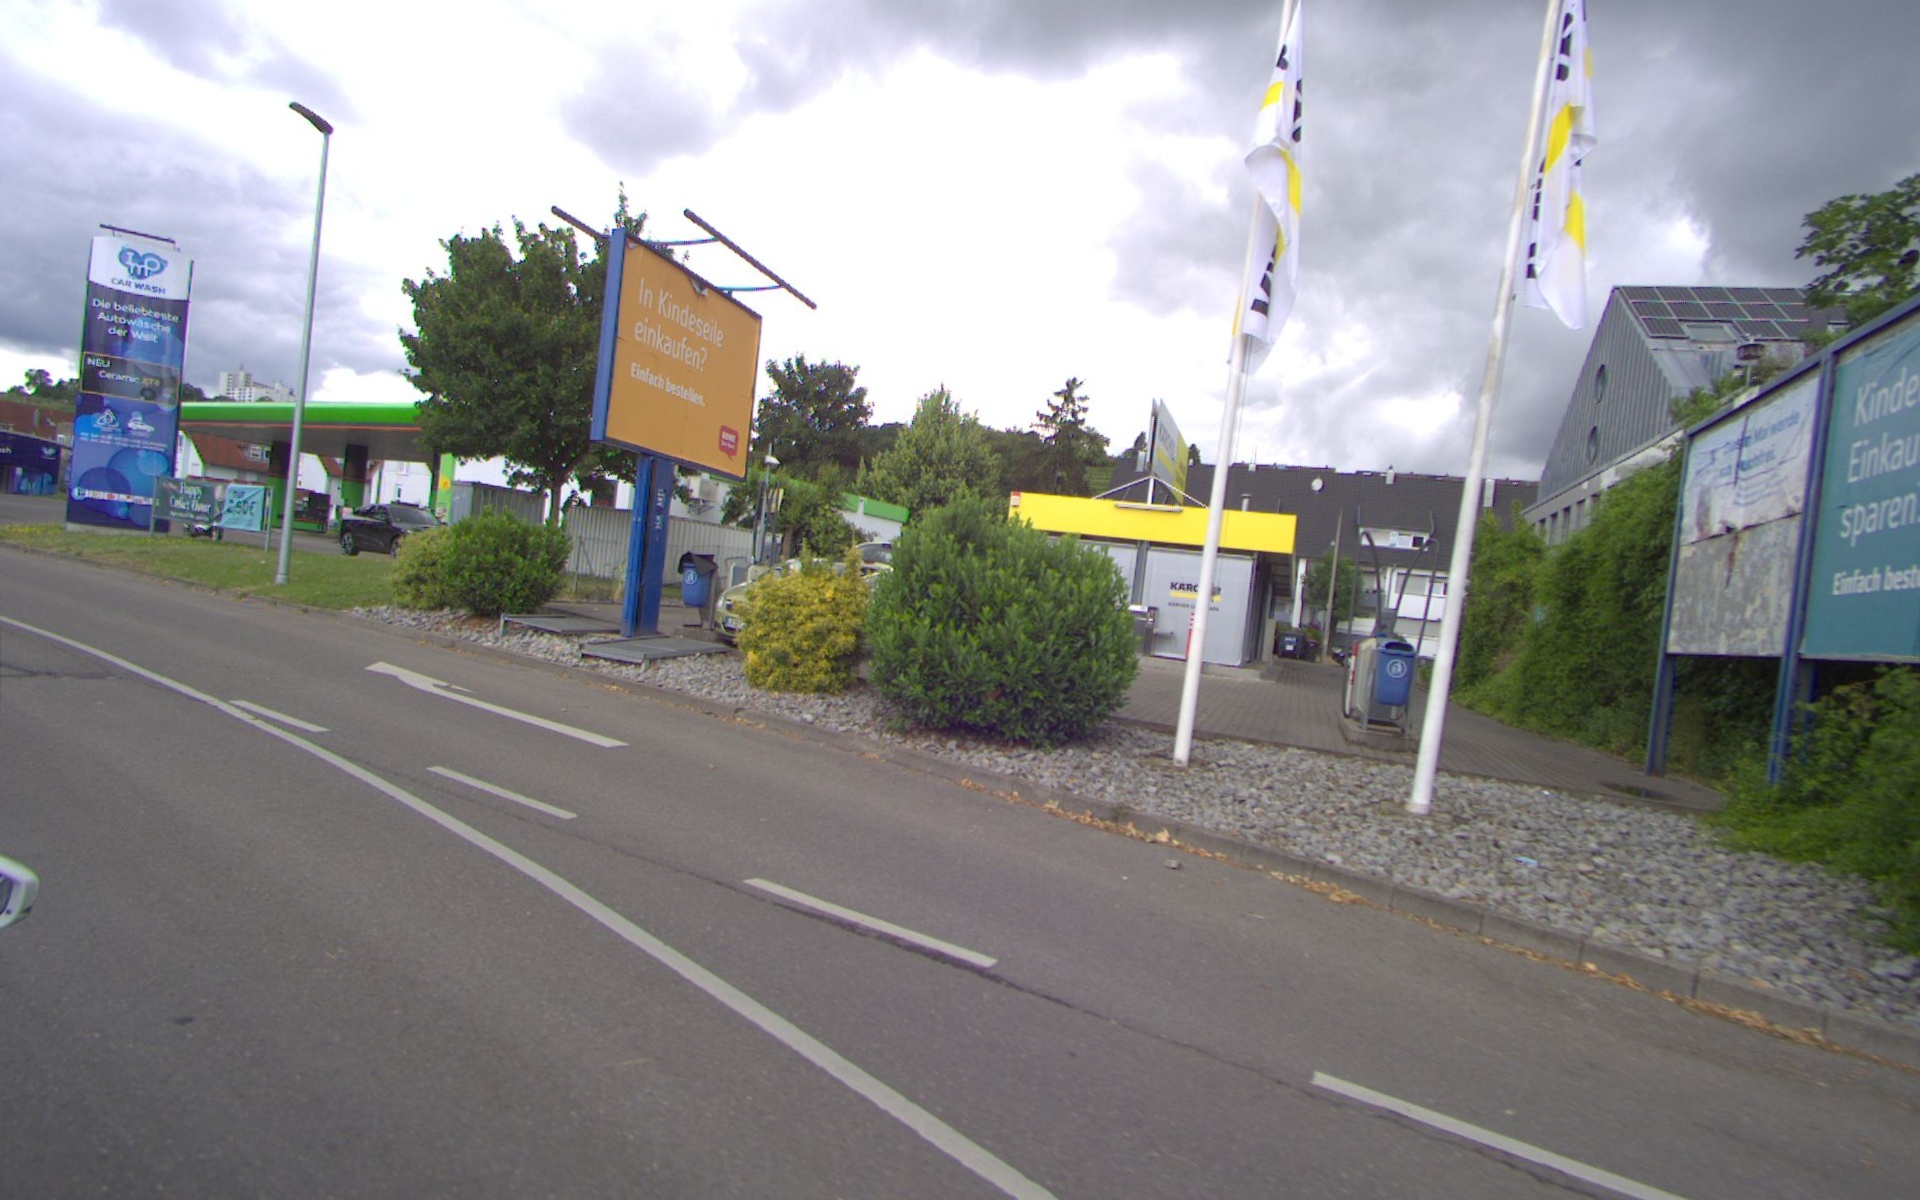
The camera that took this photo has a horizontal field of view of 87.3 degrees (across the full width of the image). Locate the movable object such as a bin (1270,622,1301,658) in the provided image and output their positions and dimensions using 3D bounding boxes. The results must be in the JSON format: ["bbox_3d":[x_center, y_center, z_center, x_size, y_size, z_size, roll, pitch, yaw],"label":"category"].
[{"bbox_3d":[16.101,2.003,49.724,1.241,1.609,0.867,7,-1,21],"label":"movable object such as a bin"}]

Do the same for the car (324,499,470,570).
[{"bbox_3d":[-16.496,-1.934,29.428,4.265,1.697,1.821,6,2,31],"label":"car"}]

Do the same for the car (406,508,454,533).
[{"bbox_3d":[-44.912,-6.766,85.238,3.934,1.705,1.691,7,1,32],"label":"car"}]

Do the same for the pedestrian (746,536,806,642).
[{"bbox_3d":[-3.075,-0.170,16.812,0.575,1.692,0.633,7,2,22],"label":"pedestrian"}]

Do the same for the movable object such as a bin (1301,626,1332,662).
[{"bbox_3d":[17.457,2.155,49.275,1.241,1.609,0.867,7,-1,21],"label":"movable object such as a bin"}]

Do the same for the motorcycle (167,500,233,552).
[{"bbox_3d":[-22.860,-2.214,30.240,1.957,1.348,0.856,7,1,32],"label":"motorcycle"}]

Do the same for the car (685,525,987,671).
[{"bbox_3d":[-1.714,0.015,15.489,2.892,1.676,4.027,7,0,22],"label":"car"}]
